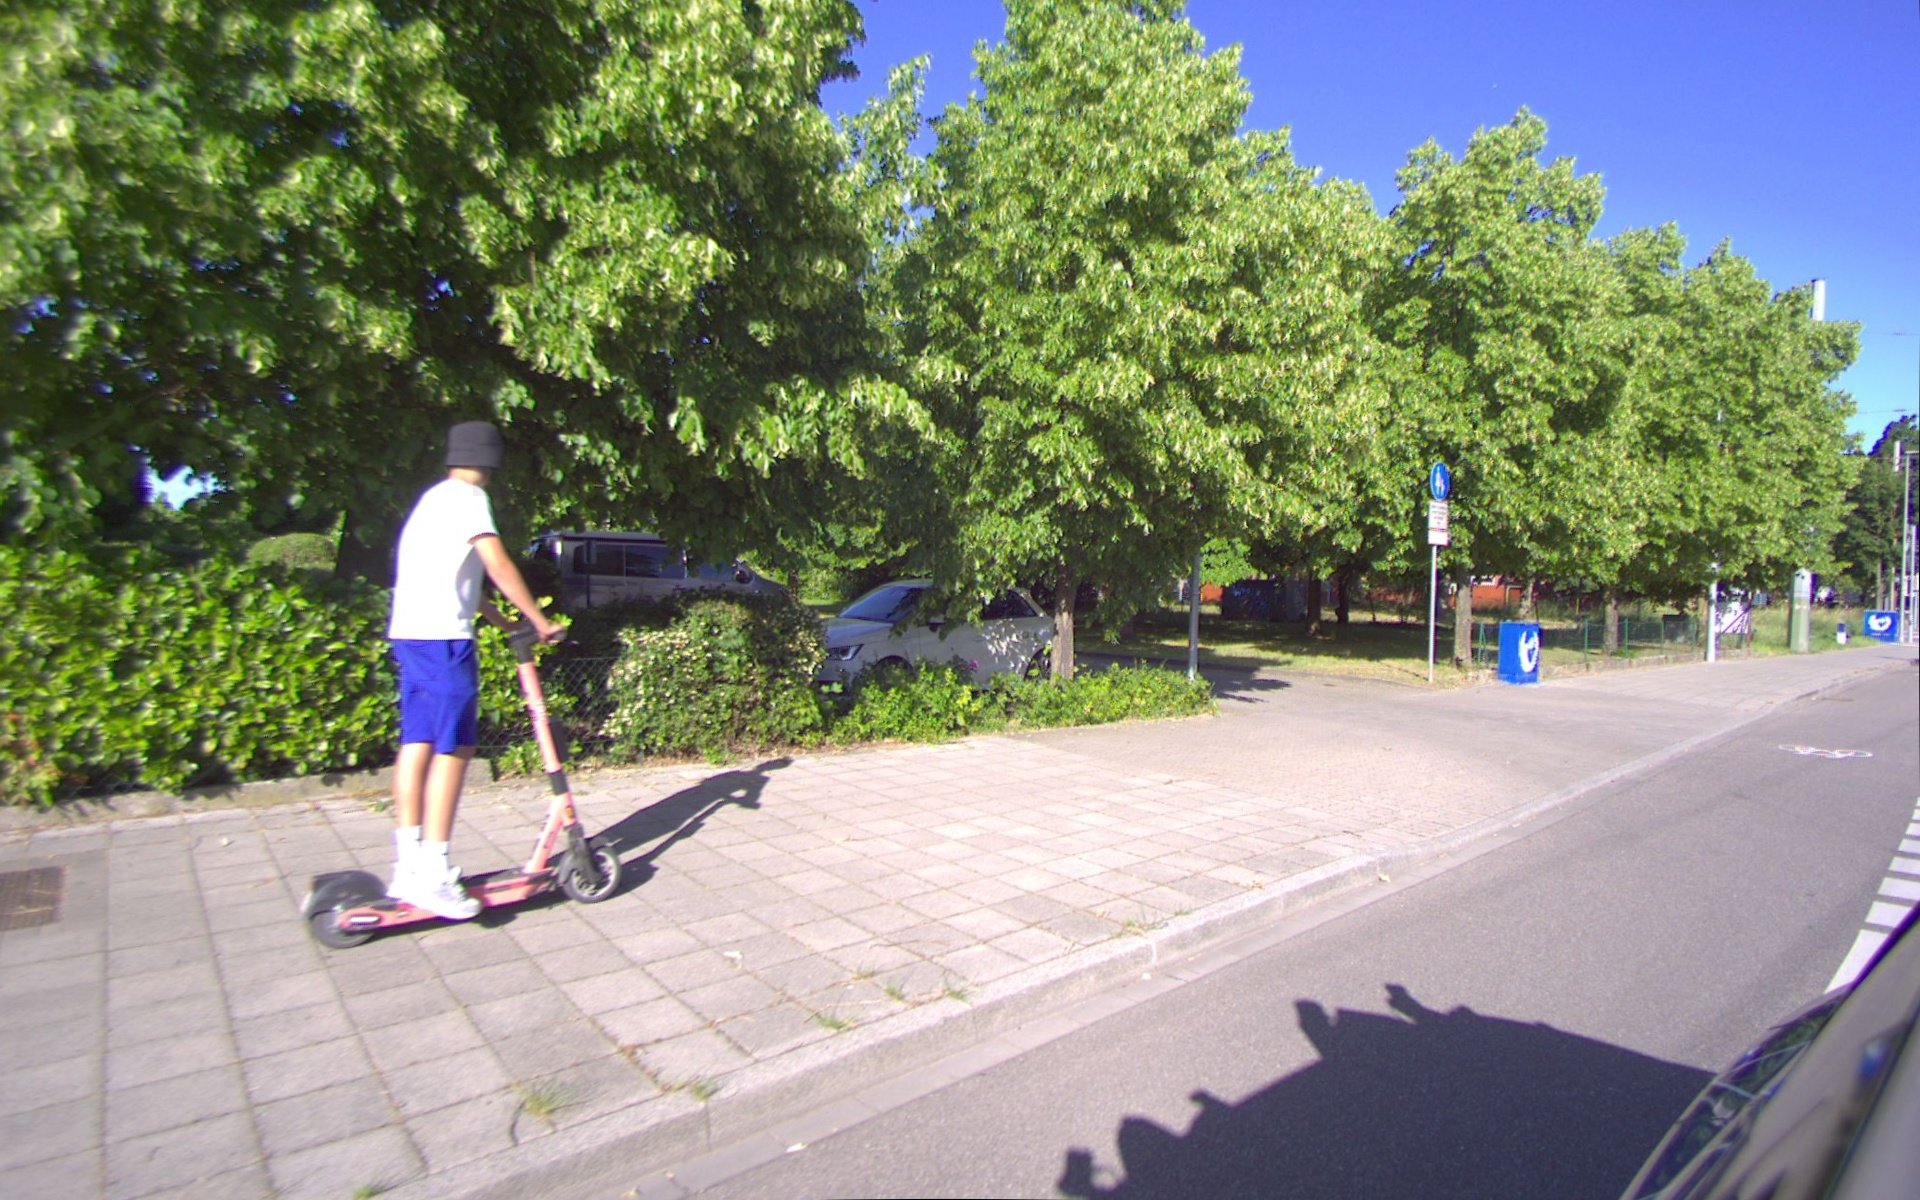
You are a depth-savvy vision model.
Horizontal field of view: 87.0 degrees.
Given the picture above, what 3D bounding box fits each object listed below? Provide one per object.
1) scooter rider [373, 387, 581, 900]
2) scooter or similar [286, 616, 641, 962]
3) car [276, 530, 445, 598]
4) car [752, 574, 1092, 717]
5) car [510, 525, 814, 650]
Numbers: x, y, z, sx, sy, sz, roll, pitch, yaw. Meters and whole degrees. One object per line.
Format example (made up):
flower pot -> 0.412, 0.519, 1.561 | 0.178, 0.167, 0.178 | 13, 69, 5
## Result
scooter rider -> -1.877, 0.148, 3.932 | 0.588, 1.789, 0.551 | 1, 0, -41
scooter or similar -> -1.902, 0.654, 3.969 | 1.187, 1.151, 0.349 | 0, 2, -42
car -> -24.075, -1.379, 40.786 | 5.585, 2.565, 2.194 | -1, 0, -42
car -> -0.314, 0.433, 11.856 | 3.985, 1.378, 1.464 | 0, 2, -43
car -> -5.219, -0.227, 18.138 | 4.869, 1.962, 1.878 | 0, 2, -39
